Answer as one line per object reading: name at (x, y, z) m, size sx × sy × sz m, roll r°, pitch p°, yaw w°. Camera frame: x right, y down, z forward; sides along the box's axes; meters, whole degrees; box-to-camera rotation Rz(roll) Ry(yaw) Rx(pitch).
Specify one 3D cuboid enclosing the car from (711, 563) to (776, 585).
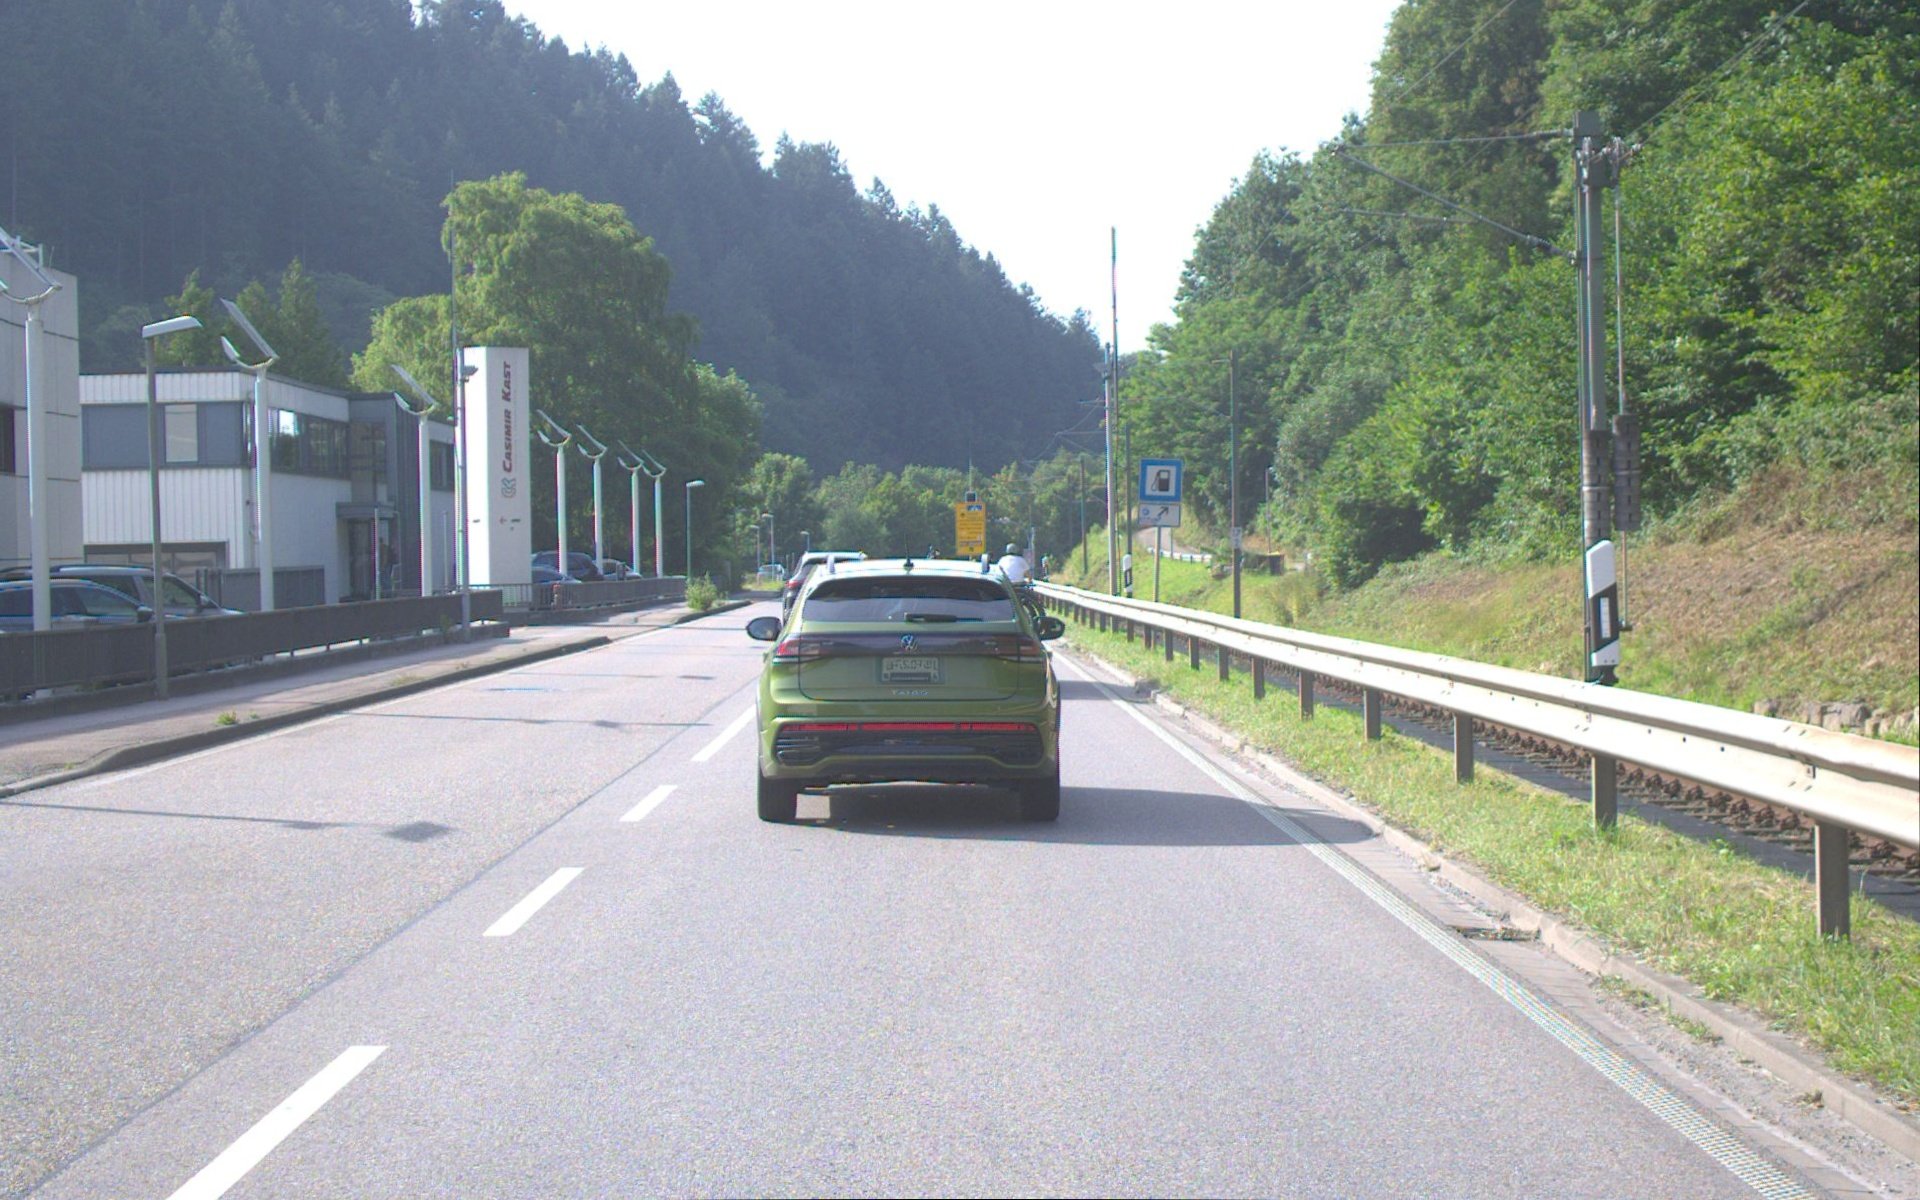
car at (-14.393, -1.742, 228.658) m, size 4.259 × 1.428 × 1.557 m, roll 0°, pitch 1°, yaw 0°

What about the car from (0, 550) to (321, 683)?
car at (-10.827, 0.186, 46.398) m, size 1.780 × 1.702 × 4.101 m, roll 0°, pitch 1°, yaw 41°

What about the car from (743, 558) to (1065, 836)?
car at (-0.352, 0.499, 20.589) m, size 1.739 × 1.503 × 4.000 m, roll 0°, pitch 1°, yaw -1°

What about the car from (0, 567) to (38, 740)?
car at (-10.640, 0.507, 30.953) m, size 1.887 × 1.586 × 4.165 m, roll 0°, pitch 1°, yaw 41°

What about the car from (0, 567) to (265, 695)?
car at (-10.957, 0.352, 42.347) m, size 1.887 × 1.490 × 4.478 m, roll 0°, pitch 1°, yaw 41°

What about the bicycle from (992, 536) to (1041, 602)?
bicycle at (1.079, -0.595, 66.020) m, size 0.811 × 1.246 × 2.123 m, roll 0°, pitch 1°, yaw -2°

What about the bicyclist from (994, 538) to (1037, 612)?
bicyclist at (1.071, -0.476, 66.179) m, size 0.781 × 1.407 × 0.675 m, roll 0°, pitch 1°, yaw -2°

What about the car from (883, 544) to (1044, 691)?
car at (-0.007, 0.169, 39.594) m, size 1.739 × 1.596 × 4.000 m, roll 0°, pitch 1°, yaw -1°

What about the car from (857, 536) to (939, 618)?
car at (-1.541, -0.587, 86.108) m, size 1.993 × 2.007 × 4.000 m, roll 0°, pitch 1°, yaw -1°

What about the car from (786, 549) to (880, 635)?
car at (-2.425, -0.180, 66.214) m, size 1.739 × 1.596 × 4.000 m, roll 0°, pitch 1°, yaw -1°
